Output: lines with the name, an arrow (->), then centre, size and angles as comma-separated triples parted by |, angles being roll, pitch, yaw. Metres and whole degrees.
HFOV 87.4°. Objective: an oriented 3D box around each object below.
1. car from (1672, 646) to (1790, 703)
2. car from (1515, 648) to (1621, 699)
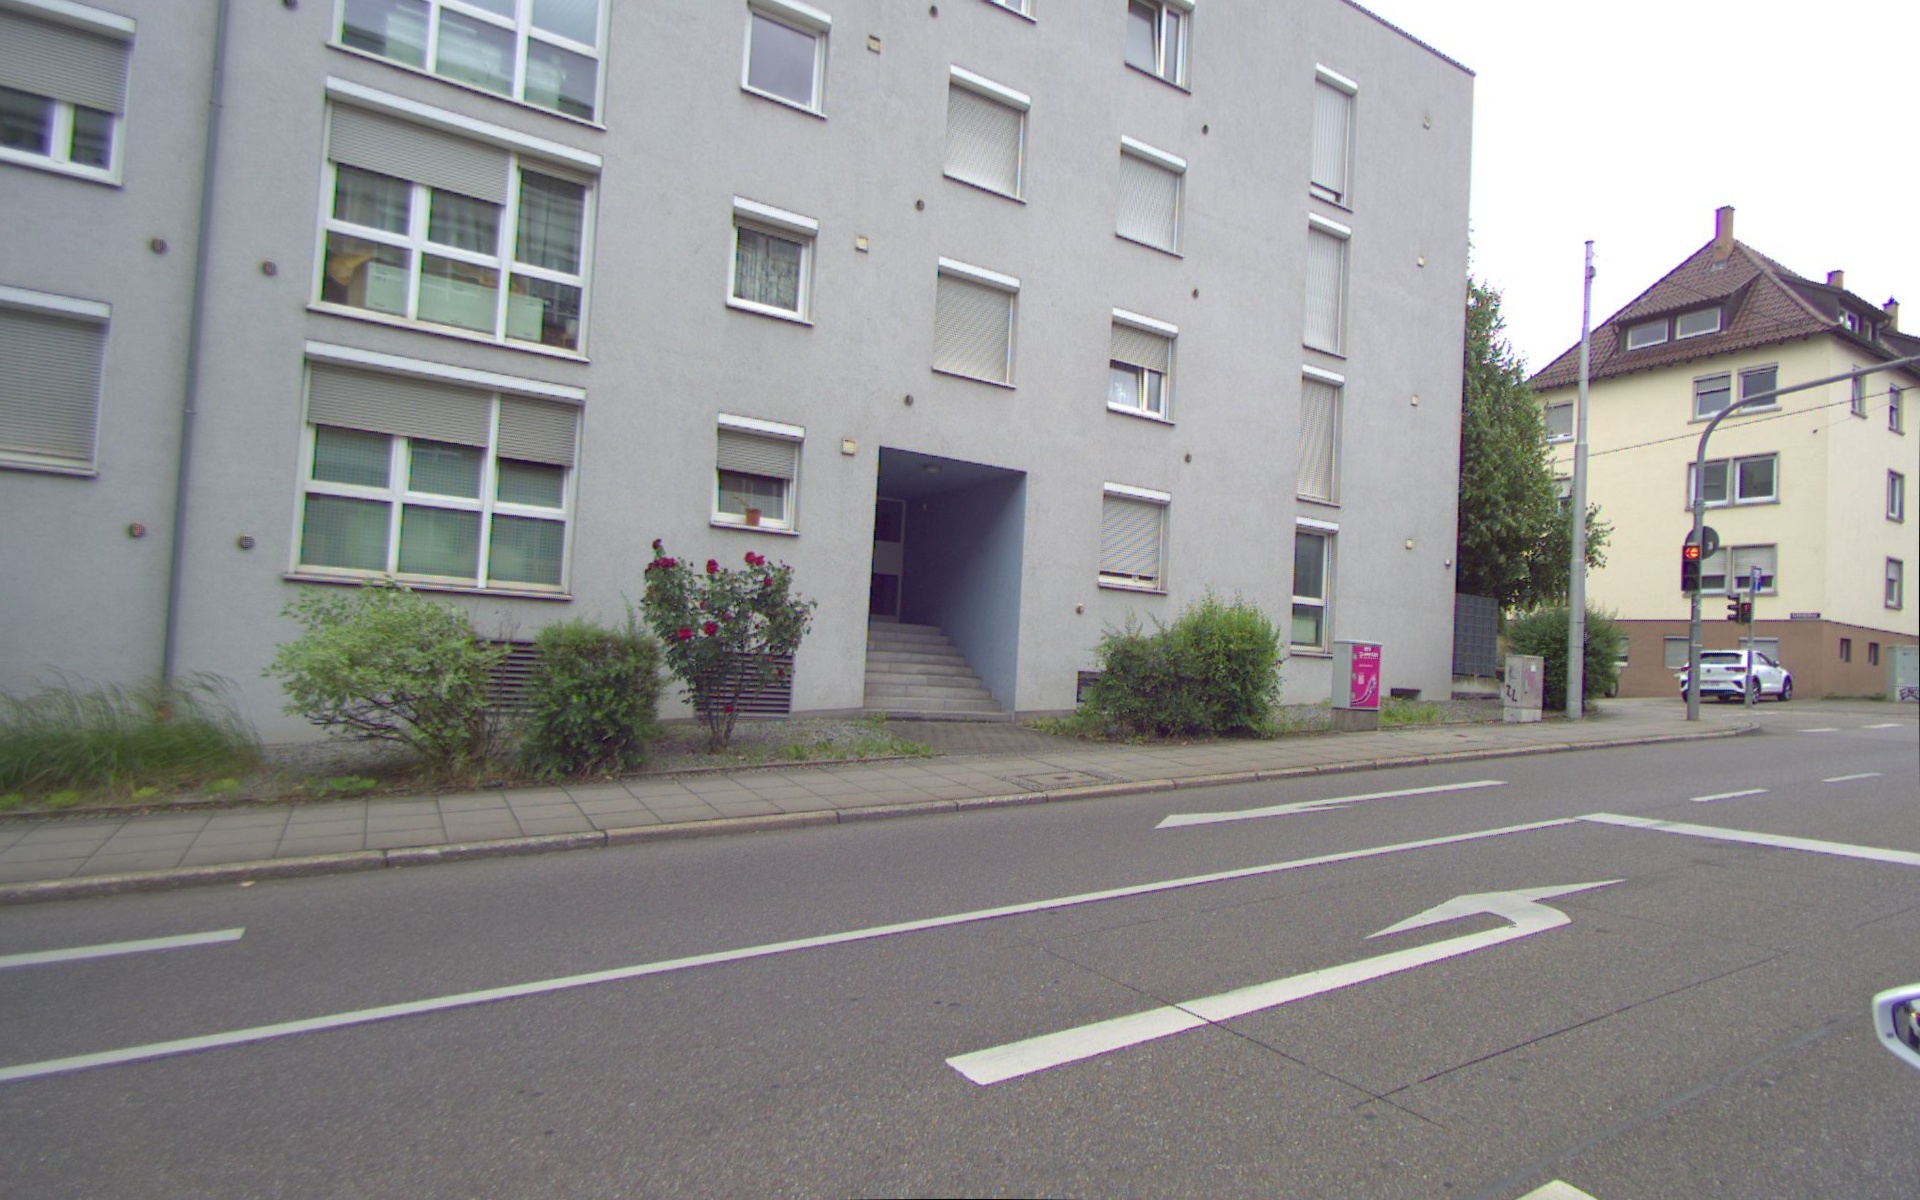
car -> 23.040, 2.197, 29.999 | 3.727, 1.575, 1.681 | 1, -4, -34
car -> 20.927, 2.484, 34.533 | 3.727, 1.629, 1.681 | 1, -4, -34
